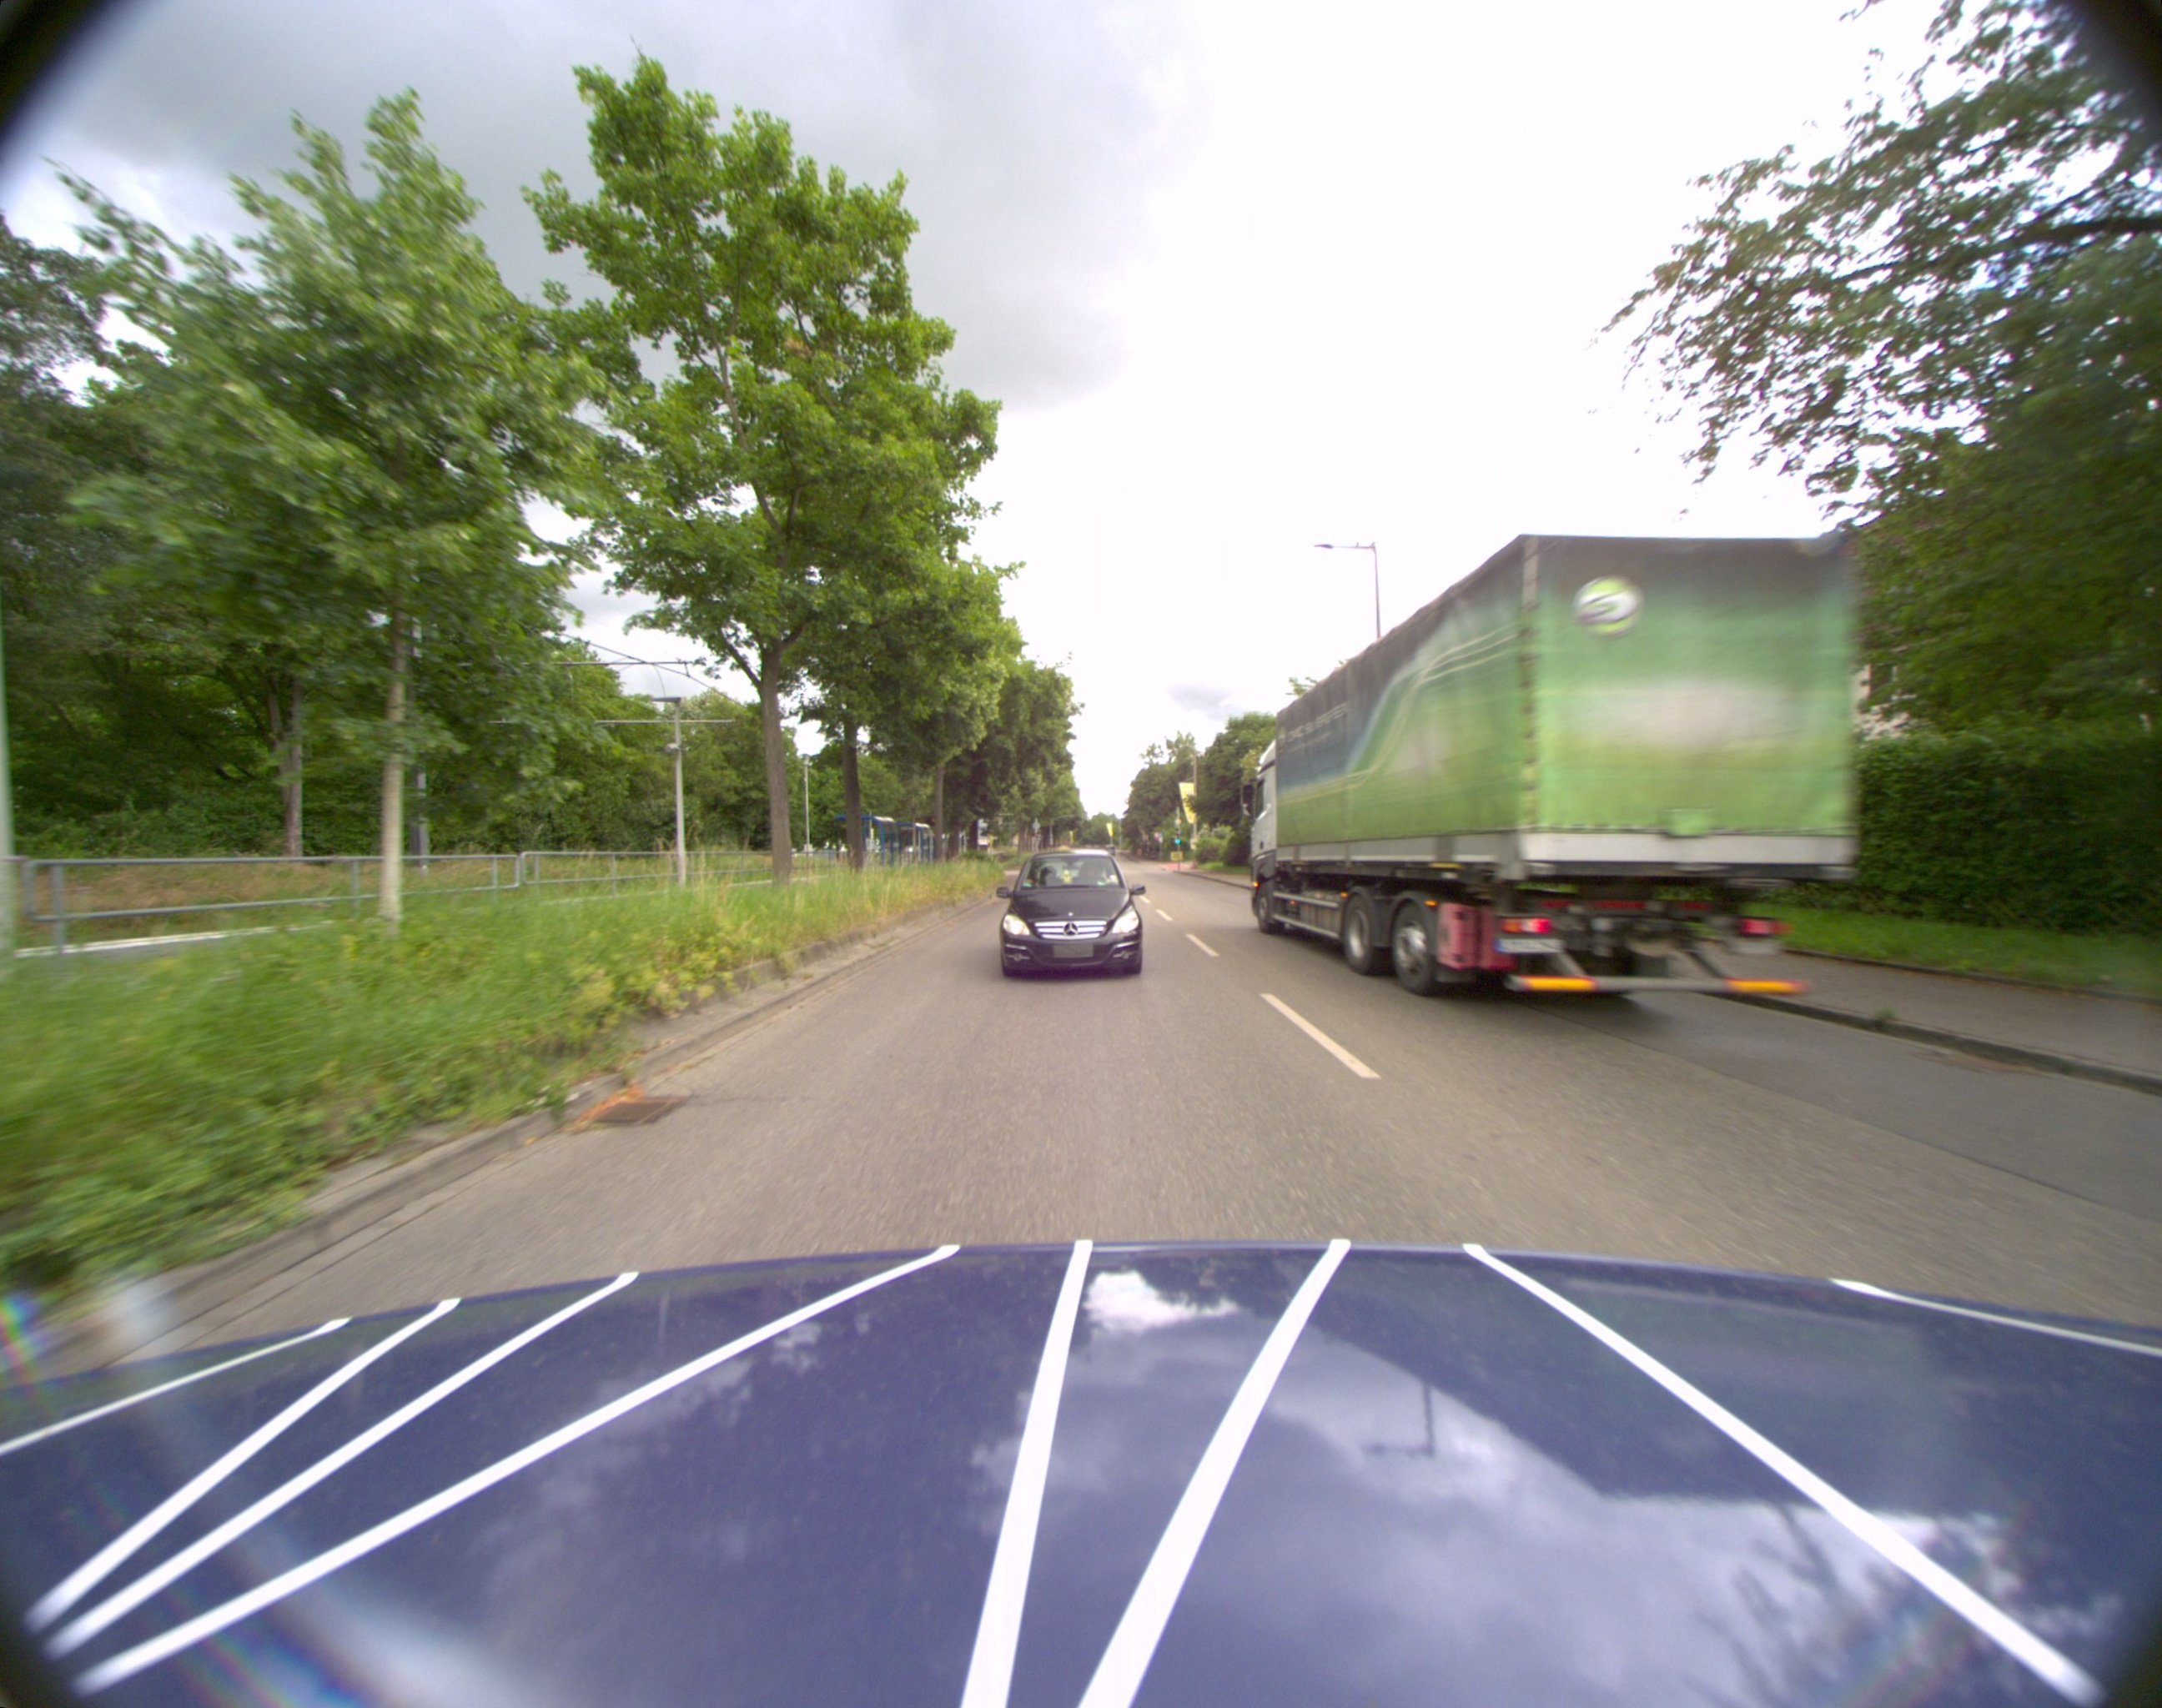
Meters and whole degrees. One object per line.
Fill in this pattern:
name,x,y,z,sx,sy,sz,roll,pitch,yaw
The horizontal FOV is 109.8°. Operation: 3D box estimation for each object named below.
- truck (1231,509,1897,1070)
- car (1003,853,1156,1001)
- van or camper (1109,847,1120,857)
truck,4.548,-0.541,10.846,2.556,4.021,10.617,1,1,0
car,-0.022,0.827,10.834,1.683,1.565,4.482,-2,1,0
van or camper,6.397,-0.432,146.893,1.918,1.888,4.811,-2,0,0
